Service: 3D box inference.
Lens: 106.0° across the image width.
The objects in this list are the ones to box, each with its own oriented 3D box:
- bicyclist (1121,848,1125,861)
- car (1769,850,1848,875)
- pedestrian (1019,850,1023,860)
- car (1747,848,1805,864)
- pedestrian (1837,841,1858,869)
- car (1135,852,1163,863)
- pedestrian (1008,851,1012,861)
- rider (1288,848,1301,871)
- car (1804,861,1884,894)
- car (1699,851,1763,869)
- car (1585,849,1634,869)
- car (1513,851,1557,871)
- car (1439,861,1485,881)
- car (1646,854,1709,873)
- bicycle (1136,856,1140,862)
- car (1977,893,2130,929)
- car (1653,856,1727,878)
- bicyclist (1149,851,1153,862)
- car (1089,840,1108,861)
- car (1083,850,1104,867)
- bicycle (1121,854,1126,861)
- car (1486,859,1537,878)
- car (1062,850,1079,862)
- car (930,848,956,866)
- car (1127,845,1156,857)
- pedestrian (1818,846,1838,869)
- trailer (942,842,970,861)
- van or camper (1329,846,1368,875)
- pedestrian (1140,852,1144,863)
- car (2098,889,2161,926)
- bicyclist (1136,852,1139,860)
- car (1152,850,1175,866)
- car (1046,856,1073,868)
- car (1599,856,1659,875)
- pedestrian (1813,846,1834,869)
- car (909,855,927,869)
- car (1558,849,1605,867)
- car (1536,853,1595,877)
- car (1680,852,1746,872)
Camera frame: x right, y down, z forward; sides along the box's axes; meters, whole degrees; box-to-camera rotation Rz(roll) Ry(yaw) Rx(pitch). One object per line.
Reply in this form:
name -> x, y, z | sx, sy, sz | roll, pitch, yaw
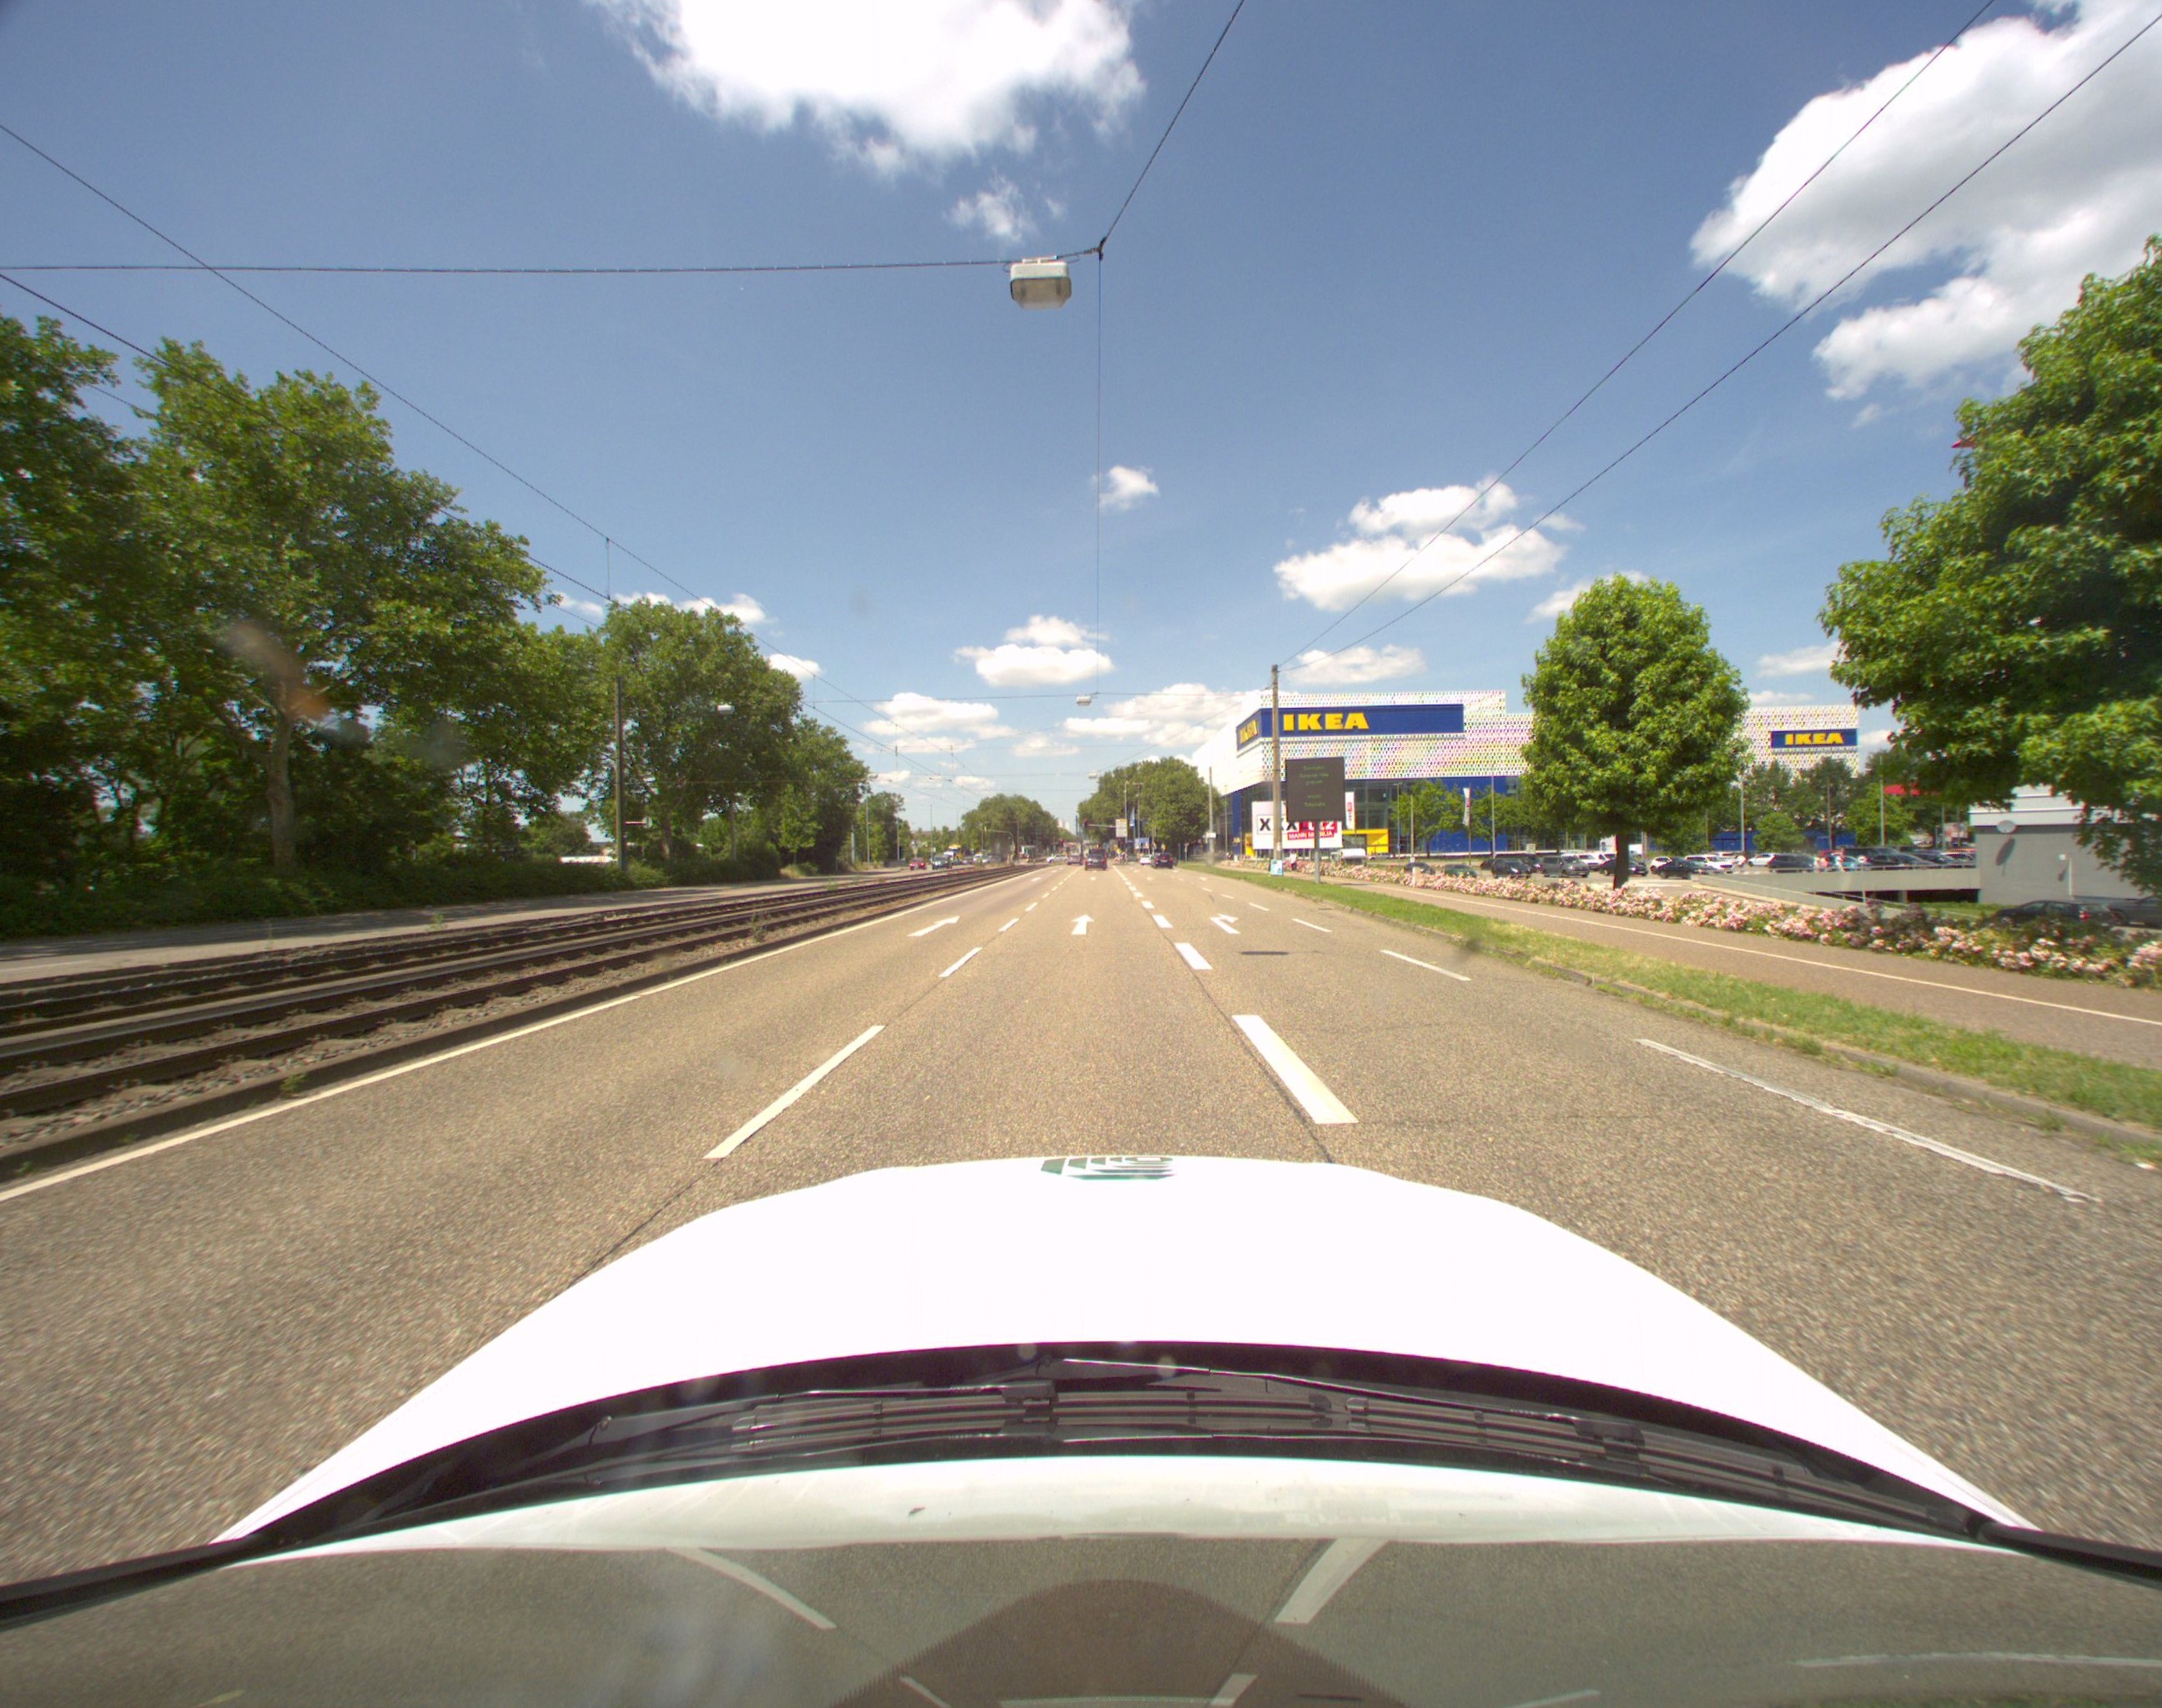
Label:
bicyclist -> 6.049, 0.086, 117.448 | 0.527, 1.789, 1.088 | 0, -1, 2
car -> 53.724, 0.601, 60.266 | 1.986, 1.781, 4.334 | 1, 0, 1
pedestrian -> -11.475, 0.215, 156.140 | 0.683, 2.014, 0.572 | 0, -1, -3
car -> 73.048, 0.212, 85.712 | 1.986, 1.610, 5.002 | 0, 0, 1
pedestrian -> 52.175, 0.089, 55.436 | 0.738, 1.869, 0.735 | 0, 0, -1
car -> 9.128, 0.468, 109.524 | 1.974, 1.486, 4.417 | 1, 0, 31
pedestrian -> -12.291, 0.310, 140.662 | 0.683, 1.637, 0.572 | 0, -1, -3
rider -> 13.779, 0.351, 52.556 | 0.667, 1.457, 0.618 | 0, 0, 0
car -> 56.395, 1.706, 60.311 | 1.986, 2.327, 4.334 | 1, 0, 1
car -> 59.585, 0.551, 74.800 | 1.986, 1.610, 5.002 | 0, 0, 1
car -> 55.921, 0.538, 86.306 | 1.986, 2.007, 5.002 | 0, 0, 1
car -> 48.448, 0.712, 86.957 | 1.986, 2.134, 5.002 | 0, 0, 1
car -> 33.275, 1.443, 71.280 | 1.986, 1.496, 4.304 | -3, 0, 1
car -> 52.583, 0.780, 71.871 | 1.986, 1.610, 5.002 | 0, 0, 1
bicycle -> 8.307, 0.722, 119.250 | 0.547, 0.877, 1.699 | 0, 0, 4
car -> 45.539, 2.630, 38.293 | 1.987, 1.398, 4.351 | 0, 0, -1
car -> 45.941, 0.960, 61.556 | 1.986, 1.610, 5.002 | 0, 0, 1
bicyclist -> 11.168, 0.381, 129.202 | 0.525, 1.764, 0.830 | 0, -1, 14
car -> 1.751, -0.350, 81.566 | 1.830, 1.949, 4.001 | 0, 2, 1
car -> 1.145, 0.376, 71.856 | 1.786, 1.455, 4.001 | -2, 0, 1
bicycle -> 6.123, 0.468, 117.514 | 0.685, 0.993, 2.752 | 0, 0, 2
car -> 37.855, 1.224, 71.775 | 1.986, 1.550, 5.002 | 0, 0, 1
car -> -1.301, 0.210, 104.904 | 1.986, 1.486, 4.001 | 1, 0, 1
car -> -15.307, 0.361, 90.750 | 1.987, 1.830, 4.968 | -3, 0, -1
car -> 10.279, -0.469, 137.686 | 4.410, 1.918, 1.987 | 1, 0, -20
pedestrian -> 52.273, 0.243, 57.012 | 0.738, 1.557, 0.735 | 0, 0, -1
trailer -> -24.106, -0.417, 158.385 | 2.757, 3.518, 15.880 | 0, 0, 1
van or camper -> 29.257, 0.680, 89.287 | 2.495, 3.020, 7.233 | 0, 0, 5
pedestrian -> 8.649, 0.502, 114.809 | 0.551, 1.635, 0.433 | 0, 0, 4
car -> 50.260, 2.484, 37.181 | 1.987, 1.612, 4.590 | 0, 0, 1
bicyclist -> 8.266, 0.250, 119.157 | 0.468, 1.193, 0.792 | 0, -1, 4
car -> 8.045, 0.379, 79.657 | 1.986, 1.486, 4.001 | 1, 0, 1
car -> -3.574, 1.296, 134.396 | 3.996, 1.848, 1.989 | -1, 1, -17
car -> 47.757, 0.959, 71.113 | 1.986, 1.610, 5.002 | 0, 0, 1
pedestrian -> 51.363, 0.236, 56.347 | 0.738, 1.557, 0.735 | 0, 0, -1
car -> -20.474, 0.986, 102.400 | 1.993, 1.670, 4.454 | -3, 0, -9
car -> 53.026, 0.447, 86.445 | 1.986, 1.852, 5.002 | 0, 0, 1
car -> 42.647, 0.917, 71.832 | 1.986, 2.013, 5.536 | 0, 0, 1
car -> 55.360, 0.695, 71.471 | 1.986, 1.650, 5.002 | 0, 0, 1
